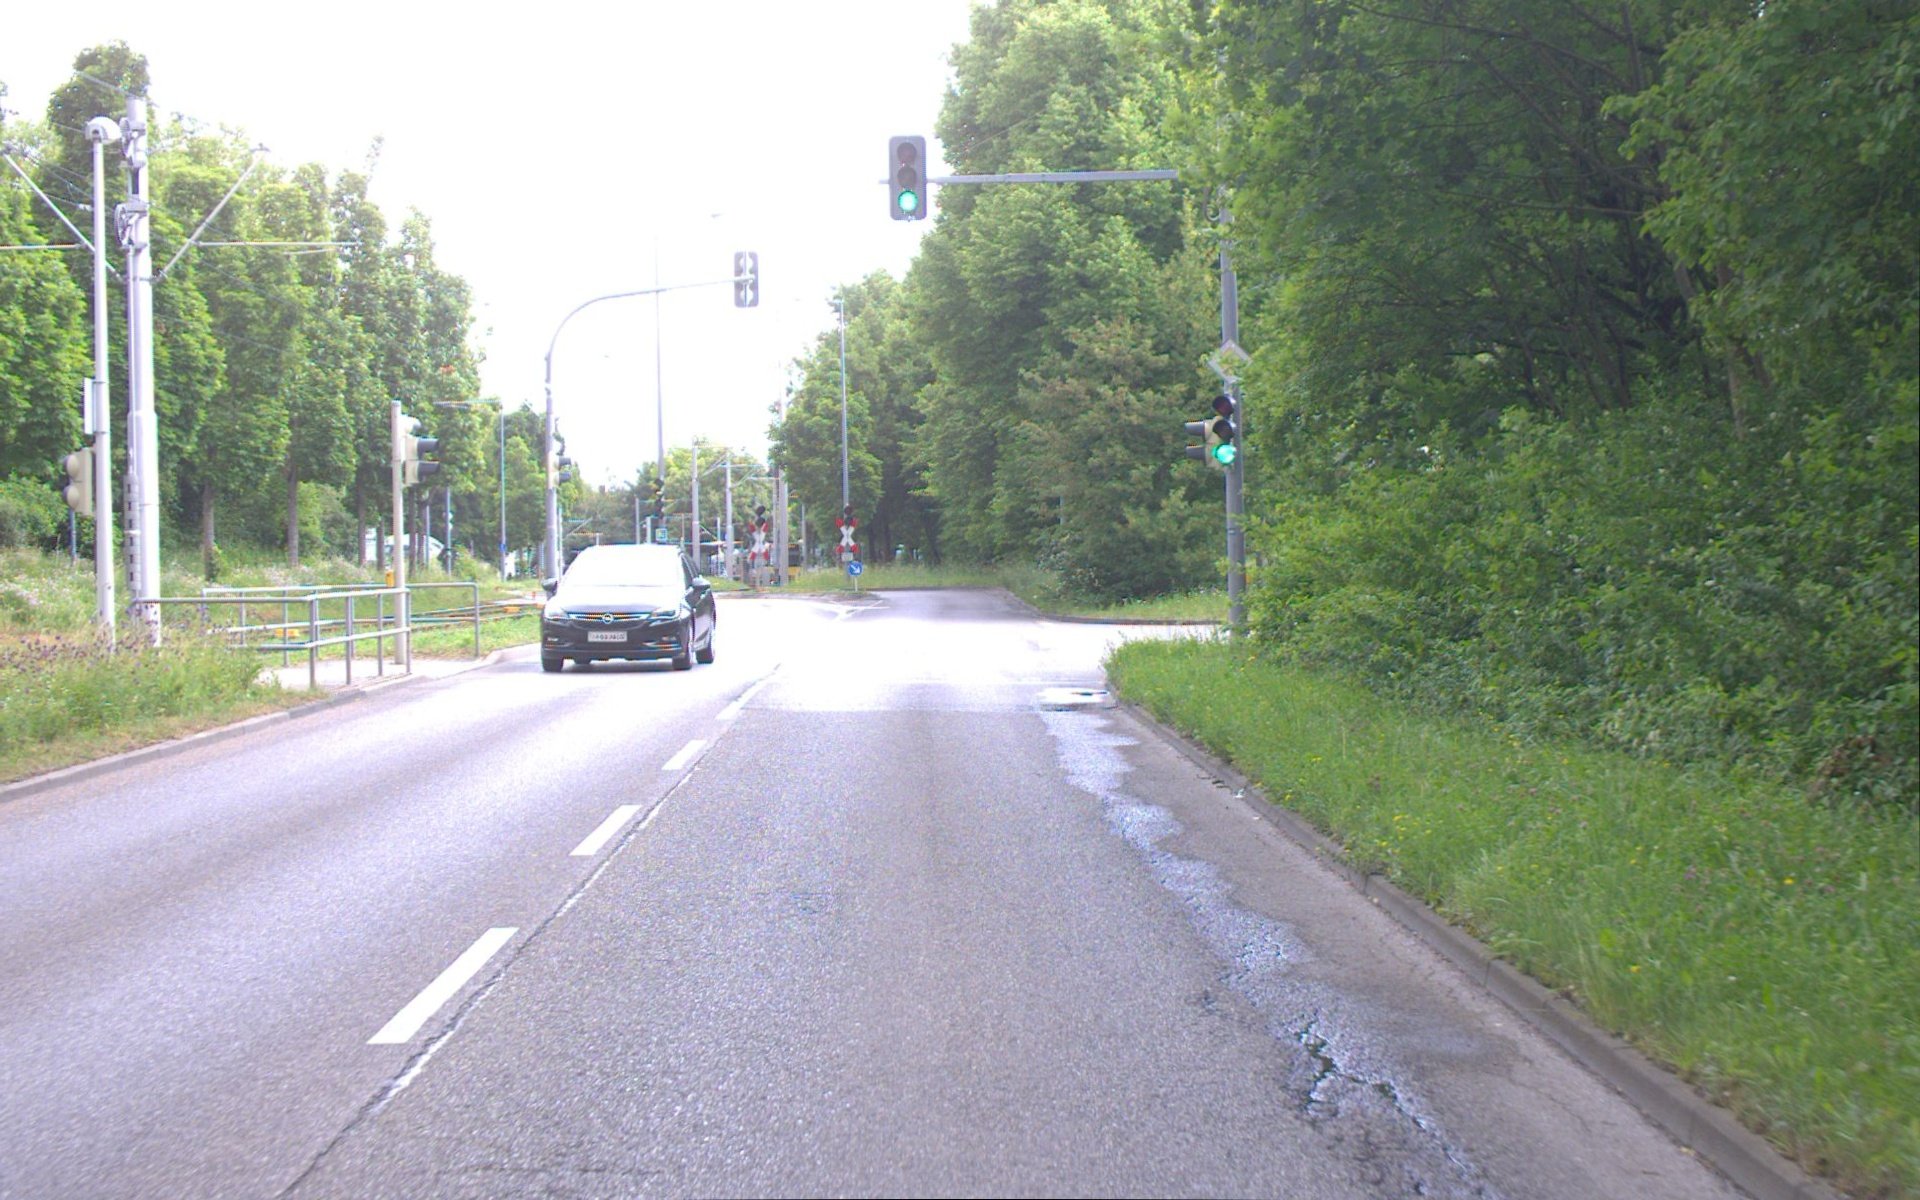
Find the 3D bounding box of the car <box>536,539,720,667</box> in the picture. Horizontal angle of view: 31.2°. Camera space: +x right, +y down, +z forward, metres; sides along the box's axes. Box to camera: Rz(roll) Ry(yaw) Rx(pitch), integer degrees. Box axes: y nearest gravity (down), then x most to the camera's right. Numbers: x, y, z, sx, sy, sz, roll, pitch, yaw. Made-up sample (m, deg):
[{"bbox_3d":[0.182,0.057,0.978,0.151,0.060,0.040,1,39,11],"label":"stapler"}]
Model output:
[{"bbox_3d":[-3.958,-0.005,41.620,1.850,1.465,4.256,0,1,0],"label":"car"}]
